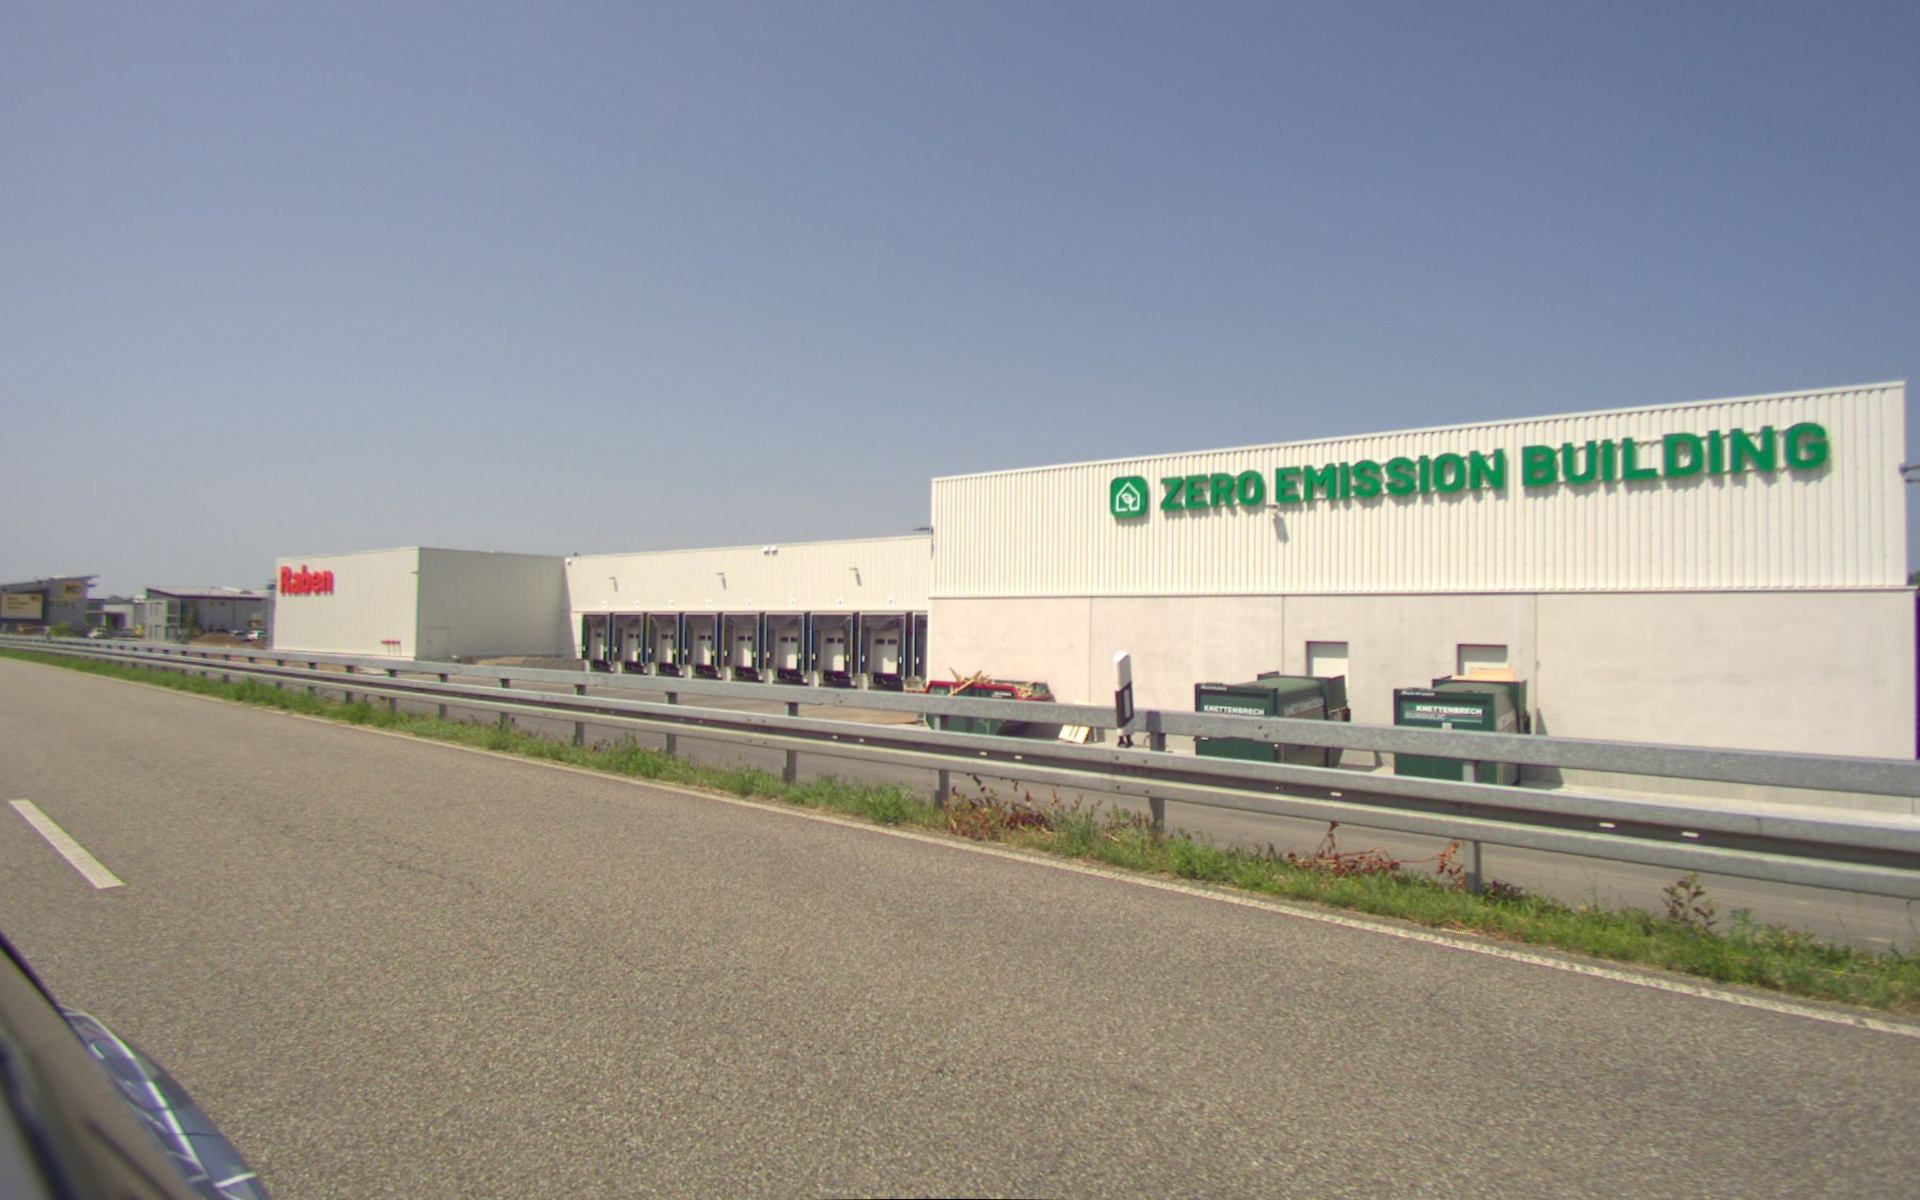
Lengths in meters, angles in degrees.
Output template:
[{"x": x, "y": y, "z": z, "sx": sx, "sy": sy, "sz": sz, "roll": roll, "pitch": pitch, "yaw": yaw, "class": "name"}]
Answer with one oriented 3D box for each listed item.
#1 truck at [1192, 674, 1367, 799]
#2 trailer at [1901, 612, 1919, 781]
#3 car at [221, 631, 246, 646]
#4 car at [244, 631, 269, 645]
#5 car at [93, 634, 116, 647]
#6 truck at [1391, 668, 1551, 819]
[{"x": 7.596, "y": 3.040, "z": 23.738, "sx": 2.230, "sy": 2.351, "sz": 4.959, "roll": -1, "pitch": -2, "yaw": 39, "class": "truck"}, {"x": 26.605, "y": 2.340, "z": 22.827, "sx": 7.567, "sy": 4.018, "sz": 2.639, "roll": 0, "pitch": -1, "yaw": 37, "class": "trailer"}, {"x": -105.238, "y": 5.596, "z": 146.568, "sx": 3.997, "sy": 2.029, "sz": 1.973, "roll": -1, "pitch": -3, "yaw": 40, "class": "car"}, {"x": -103.440, "y": 5.638, "z": 148.801, "sx": 3.997, "sy": 2.029, "sz": 1.973, "roll": -1, "pitch": -2, "yaw": 40, "class": "car"}, {"x": -114.382, "y": 5.379, "z": 135.313, "sx": 3.306, "sy": 1.686, "sz": 1.536, "roll": -1, "pitch": -3, "yaw": 36, "class": "car"}, {"x": 11.073, "y": 2.877, "z": 21.731, "sx": 2.269, "sy": 2.556, "sz": 4.998, "roll": -1, "pitch": -1, "yaw": 36, "class": "truck"}]
